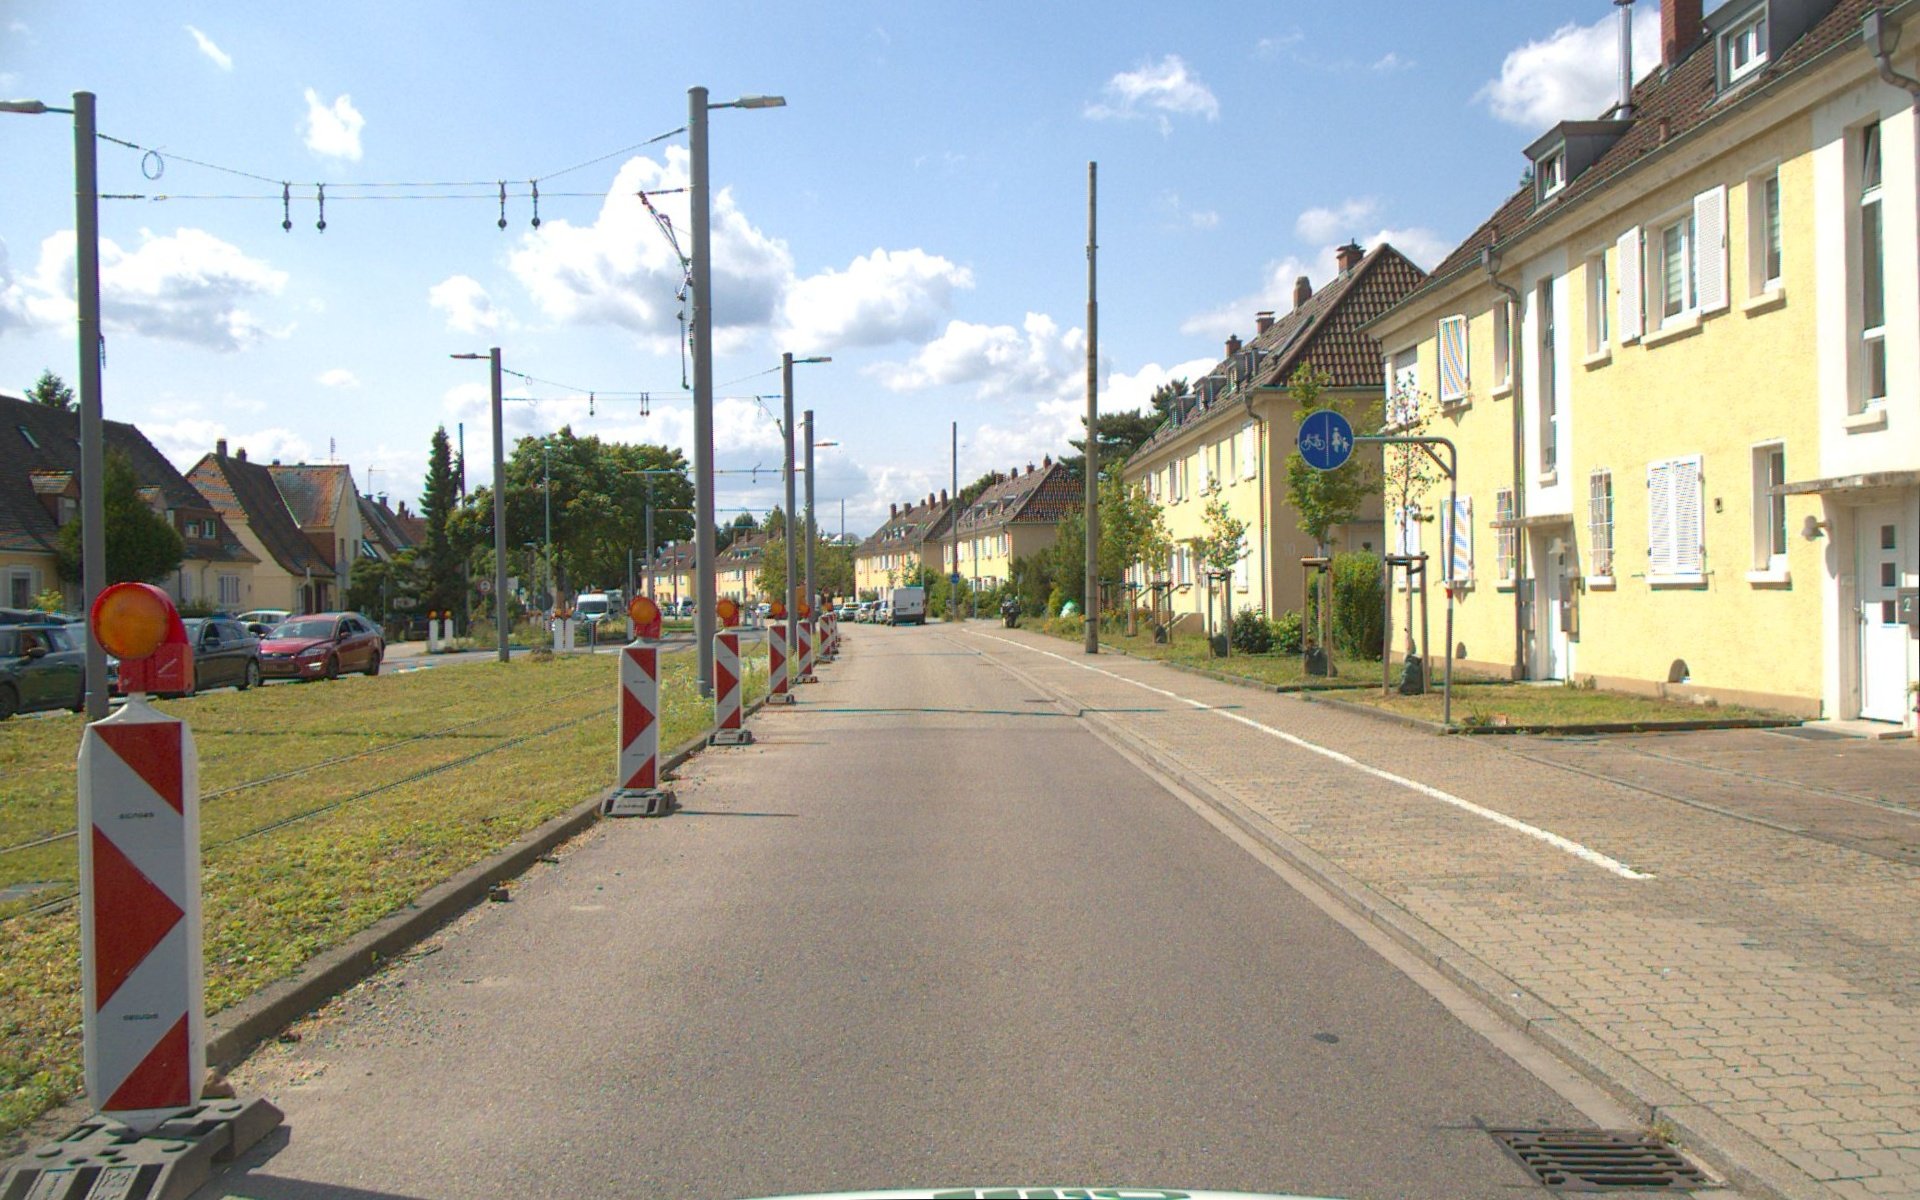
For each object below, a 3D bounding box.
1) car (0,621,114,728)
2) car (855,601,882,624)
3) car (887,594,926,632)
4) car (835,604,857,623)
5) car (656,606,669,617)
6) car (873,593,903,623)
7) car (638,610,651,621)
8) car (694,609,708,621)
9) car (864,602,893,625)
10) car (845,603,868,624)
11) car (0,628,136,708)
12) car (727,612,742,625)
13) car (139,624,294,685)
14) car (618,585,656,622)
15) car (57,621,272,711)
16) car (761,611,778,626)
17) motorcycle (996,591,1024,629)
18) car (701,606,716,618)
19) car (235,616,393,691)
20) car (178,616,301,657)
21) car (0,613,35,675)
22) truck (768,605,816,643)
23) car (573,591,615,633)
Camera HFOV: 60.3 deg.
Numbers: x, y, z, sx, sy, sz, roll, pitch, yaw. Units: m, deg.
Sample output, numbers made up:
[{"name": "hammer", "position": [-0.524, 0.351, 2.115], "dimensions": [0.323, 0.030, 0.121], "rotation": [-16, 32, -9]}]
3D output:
[{"name": "car", "position": [-14.166, 1.060, 24.013], "dimensions": [1.877, 1.443, 3.997], "rotation": [-1, 0, -3]}, {"name": "car", "position": [-6.680, 0.891, 120.374], "dimensions": [1.539, 1.578, 3.781], "rotation": [-1, 0, -9]}, {"name": "car", "position": [-3.271, 0.776, 100.116], "dimensions": [2.025, 2.186, 4.873], "rotation": [-1, 0, -5]}, {"name": "car", "position": [-9.531, 1.114, 138.456], "dimensions": [1.539, 1.578, 3.471], "rotation": [-1, 0, -9]}, {"name": "car", "position": [-41.012, 1.609, 227.863], "dimensions": [1.241, 1.451, 2.645], "rotation": [-1, 0, -24]}, {"name": "car", "position": [-4.765, 0.523, 109.628], "dimensions": [1.539, 1.930, 3.781], "rotation": [-1, 0, -9]}, {"name": "car", "position": [-44.807, 2.231, 234.821], "dimensions": [1.242, 1.451, 2.643], "rotation": [-1, 0, -26]}, {"name": "car", "position": [-32.819, 1.898, 209.409], "dimensions": [1.240, 1.374, 2.647], "rotation": [-1, 0, -22]}, {"name": "car", "position": [-5.679, 0.944, 114.847], "dimensions": [1.539, 1.578, 3.781], "rotation": [-1, 0, -9]}, {"name": "car", "position": [-8.288, 1.065, 132.260], "dimensions": [1.539, 1.578, 3.471], "rotation": [-1, 0, -9]}, {"name": "car", "position": [-18.998, 1.386, 34.548], "dimensions": [1.806, 1.520, 3.653], "rotation": [-1, 0, -2]}, {"name": "car", "position": [-26.444, 2.194, 193.848], "dimensions": [1.239, 1.451, 2.649], "rotation": [-1, 0, -20]}, {"name": "car", "position": [-18.788, 1.339, 42.023], "dimensions": [1.806, 1.366, 4.777], "rotation": [-1, 0, -1]}, {"name": "car", "position": [-21.883, 0.233, 111.994], "dimensions": [2.365, 2.412, 4.864], "rotation": [-1, 0, -13]}, {"name": "car", "position": [-14.499, 1.147, 30.476], "dimensions": [1.807, 1.438, 4.913], "rotation": [-1, 0, -3]}, {"name": "car", "position": [-20.044, 1.939, 173.759], "dimensions": [1.238, 1.451, 2.650], "rotation": [-1, 0, -19]}, {"name": "motorcycle", "position": [2.227, 0.455, 74.272], "dimensions": [1.045, 1.664, 2.082], "rotation": [-1, 0, -3]}, {"name": "car", "position": [-31.245, 1.488, 205.617], "dimensions": [1.240, 1.374, 2.647], "rotation": [-1, 0, -22]}, {"name": "car", "position": [-14.531, 1.166, 37.514], "dimensions": [1.806, 1.520, 4.854], "rotation": [-1, 0, -2]}, {"name": "car", "position": [-28.711, 1.454, 66.006], "dimensions": [4.025, 1.492, 1.990], "rotation": [-1, 0, -3]}, {"name": "car", "position": [-27.550, 1.106, 45.375], "dimensions": [3.318, 1.622, 1.603], "rotation": [4, -1, -4]}, {"name": "truck", "position": [-16.430, 2.349, 161.598], "dimensions": [2.600, 3.555, 9.386], "rotation": [-1, 0, -19]}, {"name": "car", "position": [-22.078, 0.734, 99.793], "dimensions": [2.365, 2.379, 4.863], "rotation": [-1, 0, -13]}]
